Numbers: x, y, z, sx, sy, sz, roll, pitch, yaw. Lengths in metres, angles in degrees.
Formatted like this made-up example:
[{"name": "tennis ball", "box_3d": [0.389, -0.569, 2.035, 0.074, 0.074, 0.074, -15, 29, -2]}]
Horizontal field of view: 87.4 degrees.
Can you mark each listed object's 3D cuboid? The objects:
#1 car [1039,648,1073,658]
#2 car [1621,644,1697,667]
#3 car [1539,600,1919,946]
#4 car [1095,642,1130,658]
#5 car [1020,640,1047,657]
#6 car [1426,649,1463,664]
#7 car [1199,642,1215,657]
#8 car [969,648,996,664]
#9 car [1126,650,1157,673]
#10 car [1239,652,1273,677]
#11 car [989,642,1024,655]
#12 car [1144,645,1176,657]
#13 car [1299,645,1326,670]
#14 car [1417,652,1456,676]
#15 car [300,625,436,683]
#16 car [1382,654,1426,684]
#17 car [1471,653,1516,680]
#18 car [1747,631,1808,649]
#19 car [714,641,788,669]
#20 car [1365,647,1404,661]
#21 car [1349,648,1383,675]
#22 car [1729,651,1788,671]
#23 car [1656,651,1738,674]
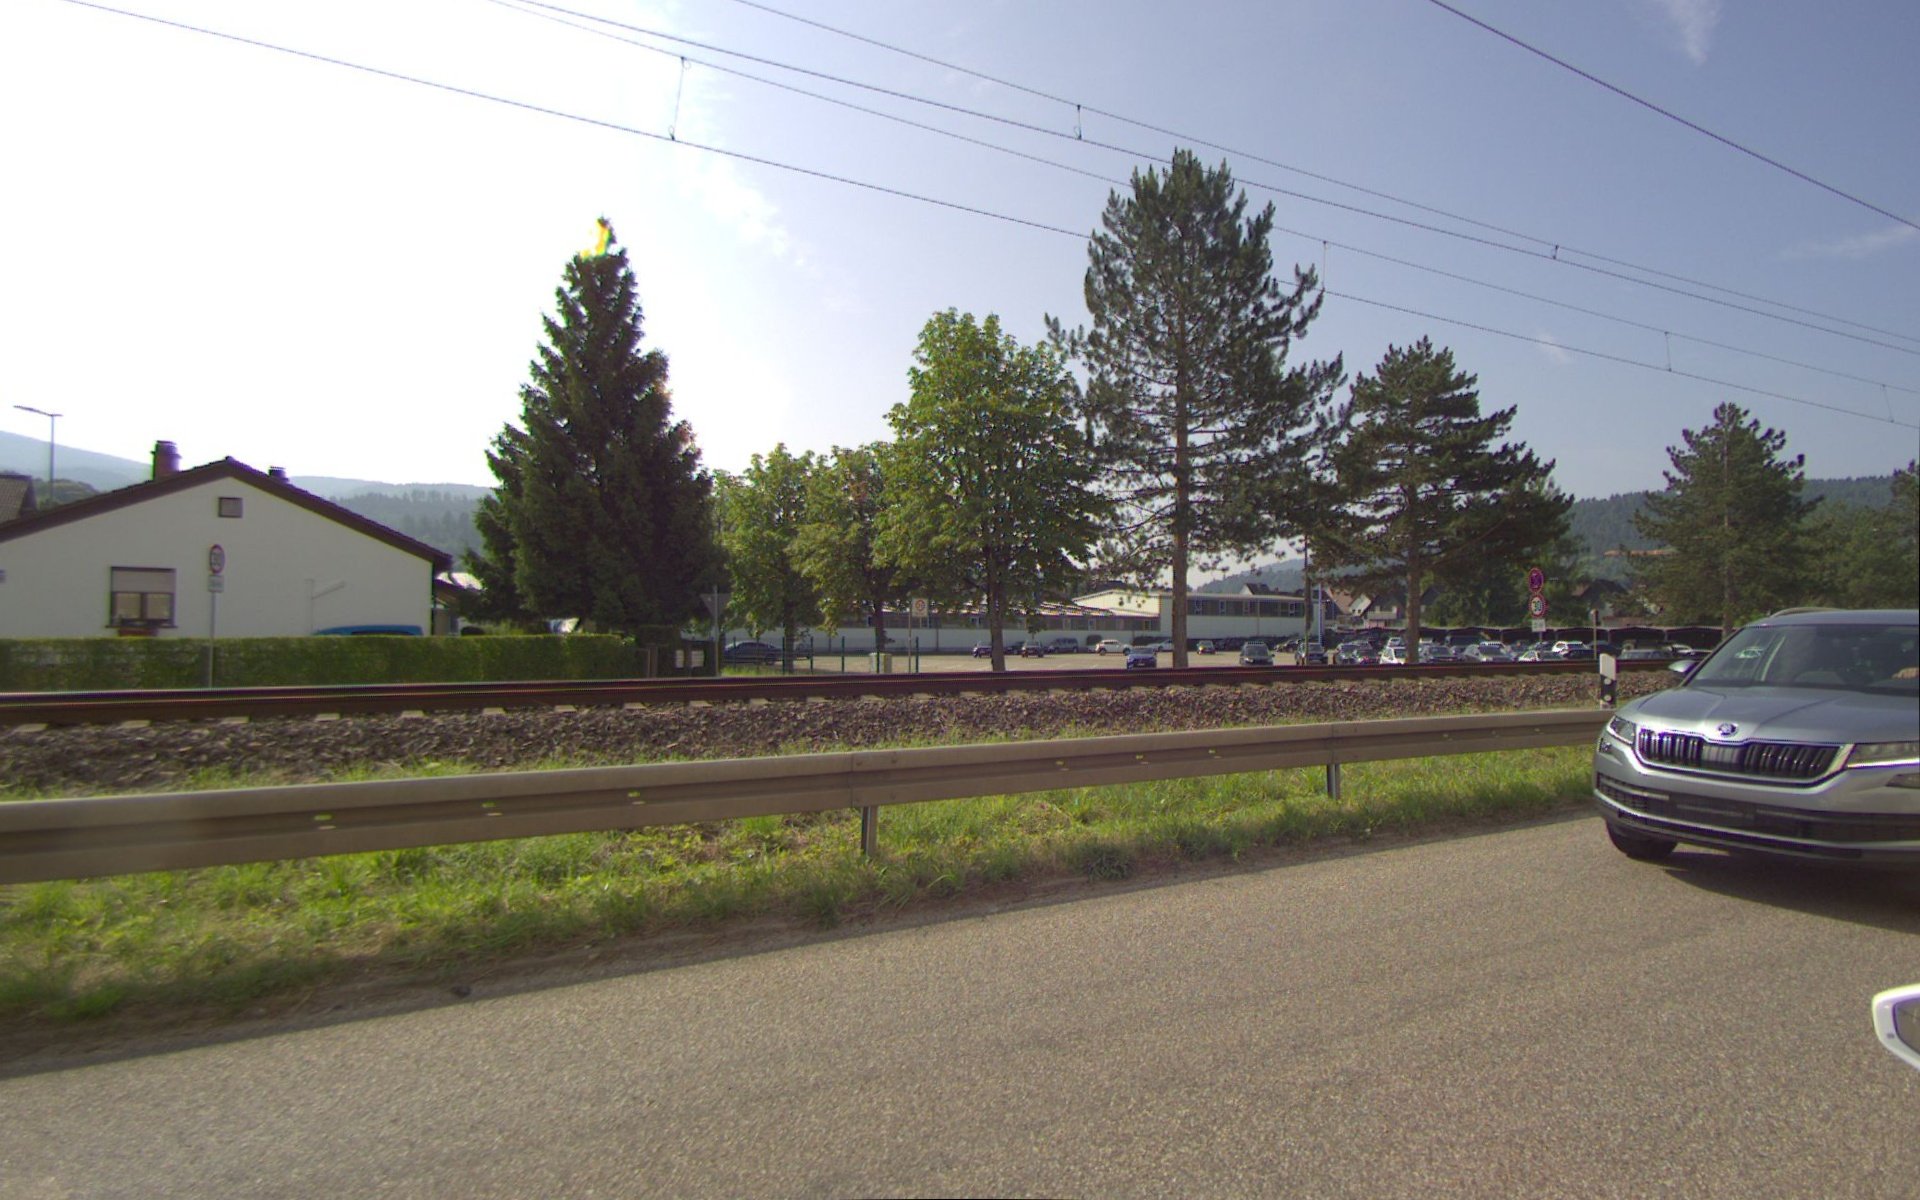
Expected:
[{"name": "car", "box_3d": [10.388, 5.708, 108.459, 3.495, 1.125, 1.328, 1, -3, -30]}, {"name": "car", "box_3d": [42.513, 3.380, 61.121, 3.450, 1.375, 1.520, -1, -2, 16]}, {"name": "car", "box_3d": [6.035, 0.883, 6.591, 4.516, 1.621, 1.898, 2, -2, -30]}, {"name": "car", "box_3d": [15.757, 5.165, 103.775, 3.465, 1.543, 1.568, 0, -2, 5]}, {"name": "car", "box_3d": [7.005, 4.595, 95.484, 1.536, 1.543, 3.536, -1, -2, 22]}, {"name": "car", "box_3d": [45.306, 5.264, 94.033, 1.430, 1.342, 3.533, 0, -2, -7]}, {"name": "car", "box_3d": [25.868, 5.132, 105.225, 1.535, 1.543, 3.539, -1, -2, 14]}, {"name": "car", "box_3d": [2.129, 5.288, 95.489, 1.963, 1.461, 3.995, 0, -2, -8]}, {"name": "car", "box_3d": [11.265, 3.796, 62.359, 1.654, 1.349, 3.855, -1, -2, 14]}, {"name": "car", "box_3d": [17.905, 3.908, 60.875, 1.654, 1.425, 3.856, -1, -2, 12]}, {"name": "car", "box_3d": [4.890, 5.093, 105.225, 3.495, 1.342, 1.446, 1, -3, -30]}, {"name": "car", "box_3d": [22.944, 5.809, 115.331, 3.495, 1.342, 1.446, 1, -3, -30]}, {"name": "car", "box_3d": [24.538, 3.997, 70.047, 1.654, 1.664, 3.854, -1, -2, 17]}, {"name": "car", "box_3d": [29.752, 3.960, 62.769, 1.654, 1.408, 3.854, -1, -2, 17]}, {"name": "car", "box_3d": [-14.935, 1.345, 25.385, 2.864, 1.370, 1.382, 1, -3, -34]}, {"name": "car", "box_3d": [23.091, 3.547, 52.367, 1.654, 1.462, 3.854, -1, -2, 17]}, {"name": "car", "box_3d": [31.733, 3.932, 59.867, 1.654, 1.526, 3.854, -1, -2, 17]}, {"name": "car", "box_3d": [73.413, 3.584, 90.218, 1.801, 1.557, 3.959, 1, -1, -36]}, {"name": "car", "box_3d": [-12.262, 3.201, 59.159, 3.965, 1.568, 1.666, 2, -3, -38]}, {"name": "car", "box_3d": [43.247, 5.511, 102.333, 3.465, 1.342, 1.458, -1, -2, 11]}, {"name": "car", "box_3d": [25.604, 3.855, 63.499, 1.654, 1.664, 3.854, -1, -2, 17]}, {"name": "car", "box_3d": [55.011, 4.184, 69.246, 1.428, 1.342, 3.539, 0, -2, 4]}, {"name": "car", "box_3d": [45.728, 3.869, 62.401, 3.779, 1.342, 1.566, -1, -2, 10]}]
